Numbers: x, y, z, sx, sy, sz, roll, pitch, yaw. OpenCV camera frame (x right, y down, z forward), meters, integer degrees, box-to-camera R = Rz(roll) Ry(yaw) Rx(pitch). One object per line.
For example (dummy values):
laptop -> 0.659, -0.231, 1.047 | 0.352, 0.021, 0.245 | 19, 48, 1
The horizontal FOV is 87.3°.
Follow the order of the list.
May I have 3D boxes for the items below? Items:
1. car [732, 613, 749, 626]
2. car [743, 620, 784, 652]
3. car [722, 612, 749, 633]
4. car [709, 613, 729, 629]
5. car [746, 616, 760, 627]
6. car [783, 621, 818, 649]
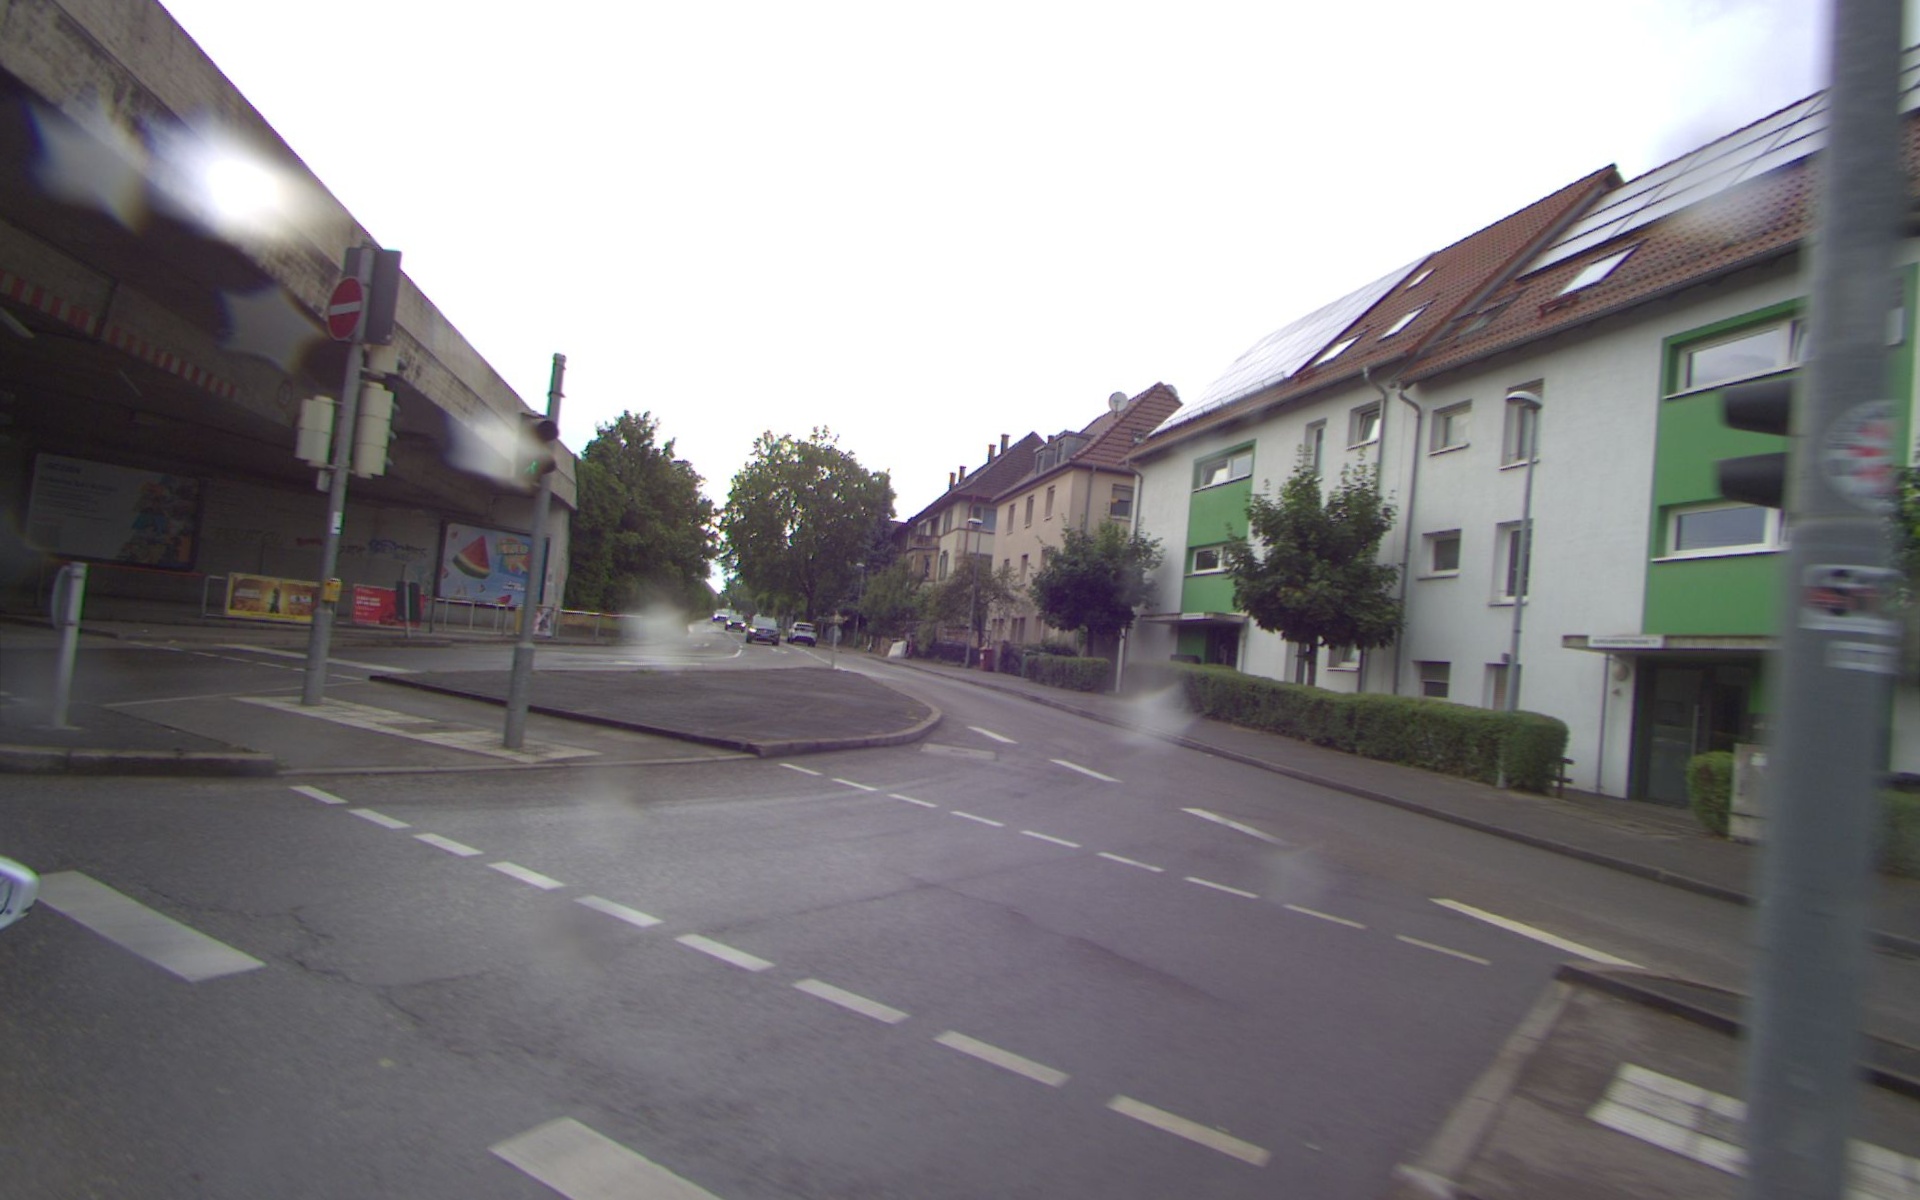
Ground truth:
car -> -31.868, 2.822, 146.094 | 1.854, 1.547, 3.987 | 9, -2, -17
car -> -11.113, 2.065, 57.056 | 1.738, 1.598, 4.234 | 5, -2, -5
car -> -20.715, 2.081, 92.748 | 1.854, 1.547, 3.987 | 9, -2, -17
car -> -29.141, 2.496, 121.474 | 1.854, 1.547, 3.987 | 9, -2, -17
car -> -35.923, 3.711, 174.632 | 1.854, 1.547, 3.987 | 9, -2, -17
car -> -11.096, 2.394, 69.897 | 1.853, 1.547, 3.990 | 9, -2, -15
